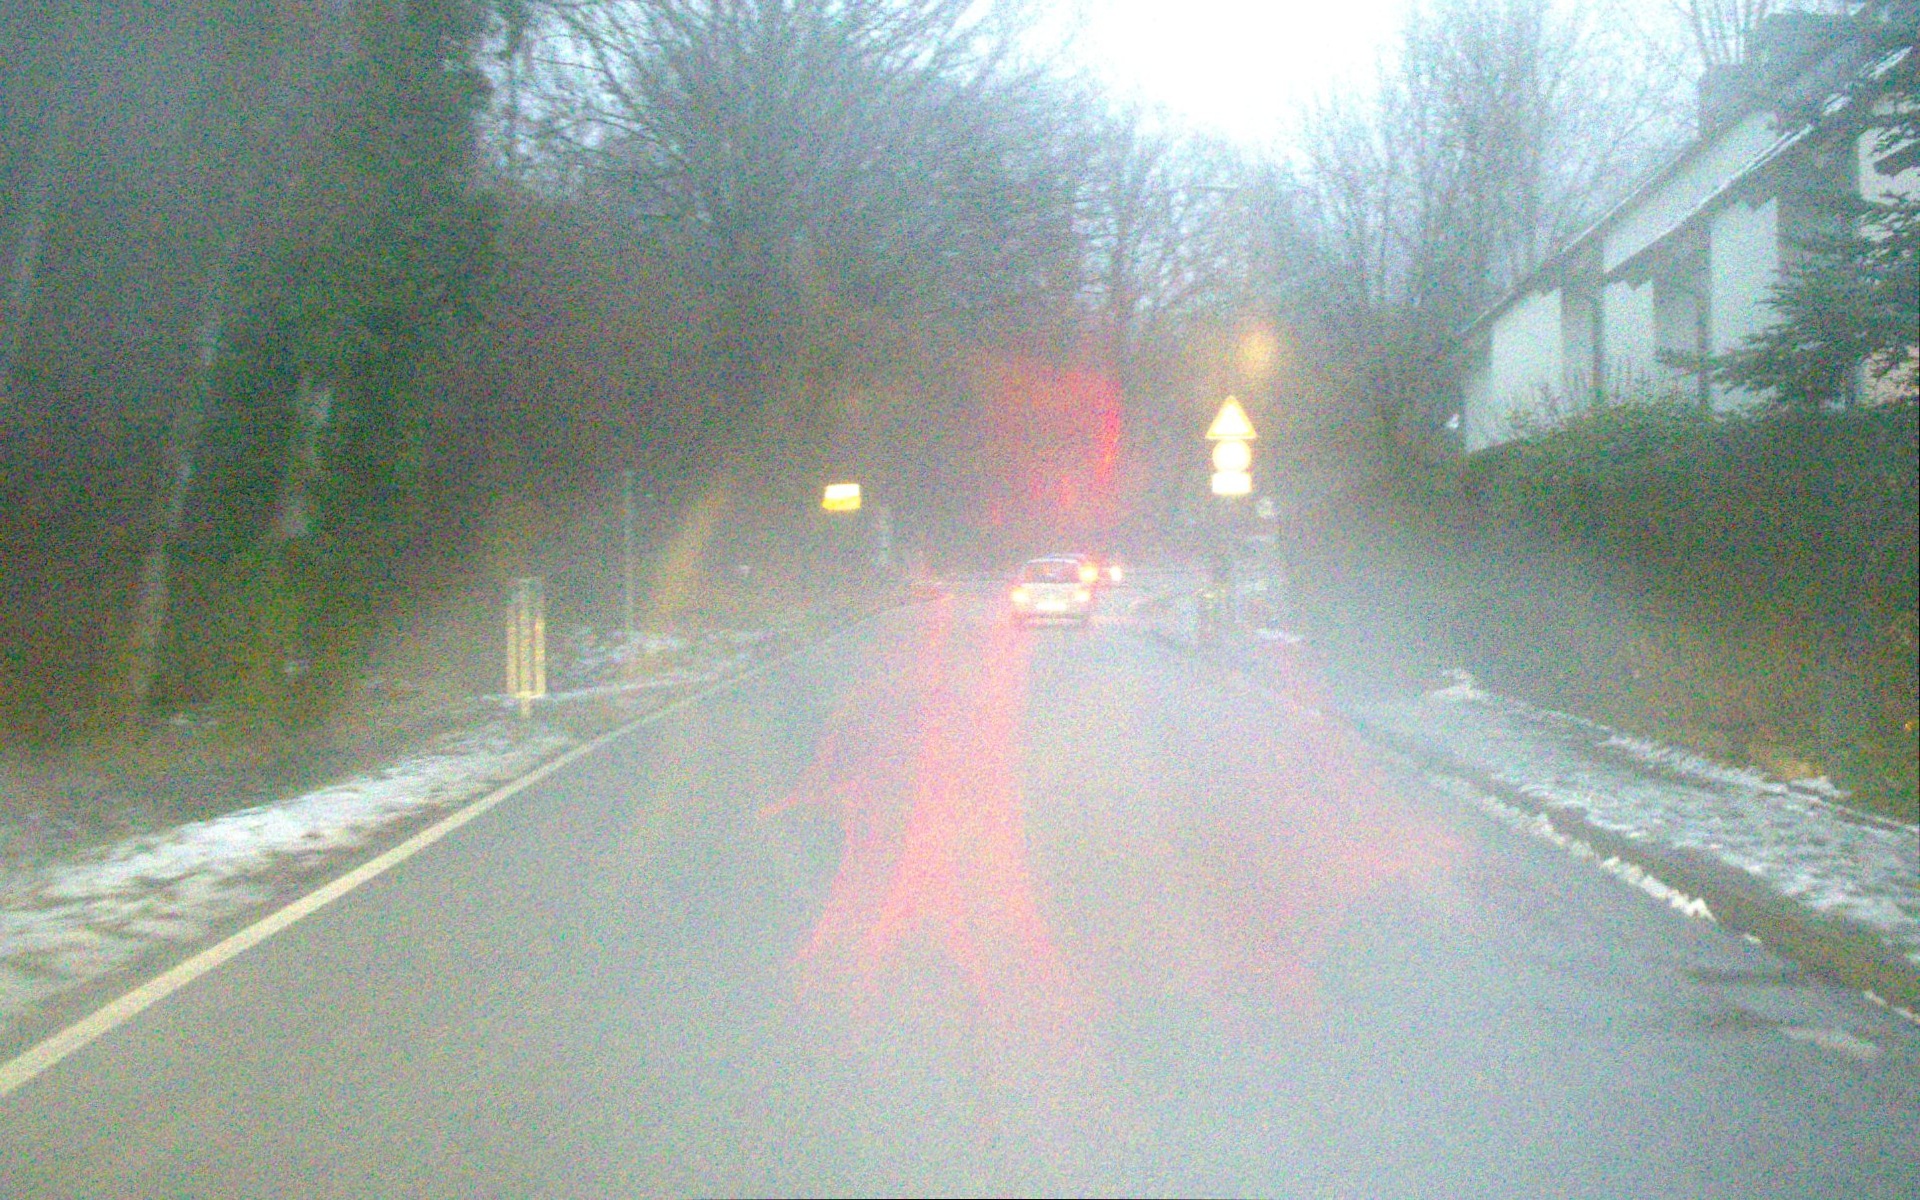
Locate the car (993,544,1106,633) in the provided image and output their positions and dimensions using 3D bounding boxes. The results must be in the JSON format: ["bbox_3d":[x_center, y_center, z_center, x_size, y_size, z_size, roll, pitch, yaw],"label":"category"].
[{"bbox_3d":[1.883,-0.261,71.164,1.933,1.775,3.999,0,1,8],"label":"car"}]
